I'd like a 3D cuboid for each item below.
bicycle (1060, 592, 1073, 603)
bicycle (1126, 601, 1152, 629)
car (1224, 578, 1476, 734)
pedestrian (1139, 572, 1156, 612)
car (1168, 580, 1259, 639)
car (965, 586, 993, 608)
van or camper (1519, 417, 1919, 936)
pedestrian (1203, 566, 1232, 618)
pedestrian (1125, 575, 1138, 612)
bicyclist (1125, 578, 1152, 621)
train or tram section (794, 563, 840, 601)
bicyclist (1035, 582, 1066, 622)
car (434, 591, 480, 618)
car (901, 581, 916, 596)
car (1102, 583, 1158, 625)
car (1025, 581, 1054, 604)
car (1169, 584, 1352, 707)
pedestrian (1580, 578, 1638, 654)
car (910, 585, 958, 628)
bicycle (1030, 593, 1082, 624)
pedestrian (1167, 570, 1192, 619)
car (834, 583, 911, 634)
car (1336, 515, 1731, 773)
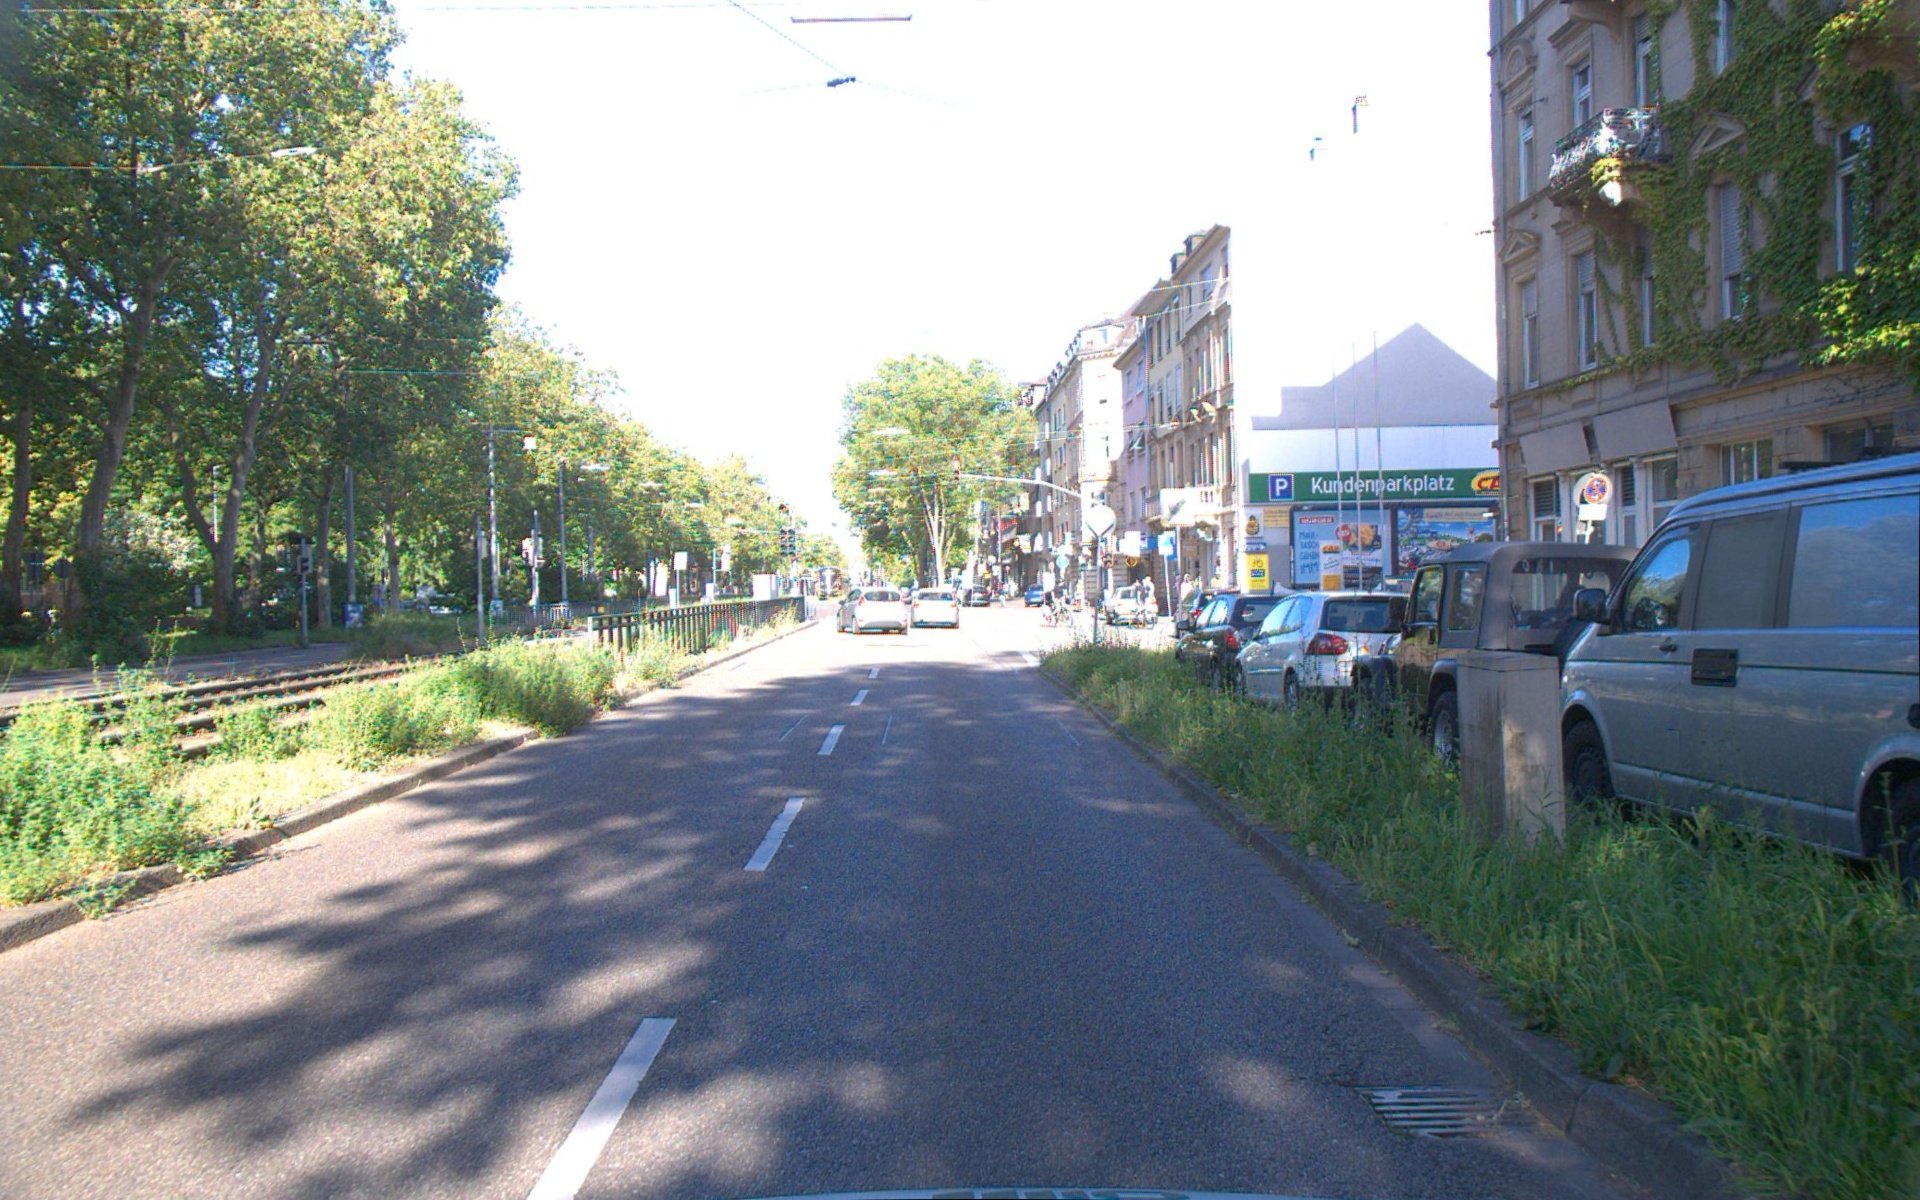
[{"bbox_3d":[7.573,-0.184,117.551,0.739,0.784,1.944,-1,1,-3],"label":"bicycle"},{"bbox_3d":[6.284,0.506,58.118,0.636,0.936,1.917,-1,0,-1],"label":"bicycle"},{"bbox_3d":[4.290,0.558,18.813,1.704,1.544,3.997,1,0,-3],"label":"car"},{"bbox_3d":[8.710,-0.354,76.773,0.659,1.838,0.530,-1,0,-2],"label":"pedestrian"},{"bbox_3d":[7.352,0.251,48.347,1.796,1.513,4.733,-4,1,-1],"label":"car"},{"bbox_3d":[1.277,-0.234,111.222,1.701,1.458,3.676,0,0,-3],"label":"car"},{"bbox_3d":[4.643,0.271,8.175,1.846,2.049,5.092,-1,0,-2],"label":"van or camper"},{"bbox_3d":[9.256,-0.290,59.528,0.748,1.873,0.744,-1,0,-19],"label":"pedestrian"},{"bbox_3d":[7.992,-0.302,76.872,0.538,1.738,0.388,-1,0,1],"label":"pedestrian"},{"bbox_3d":[6.271,-0.021,58.100,0.663,1.471,1.181,-5,0,-1],"label":"bicyclist"},{"bbox_3d":[-15.647,-1.976,182.823,3.889,3.933,17.484,-1,1,-1],"label":"train or tram section"},{"bbox_3d":[3.396,0.072,62.188,0.936,1.487,0.741,0,0,45],"label":"bicyclist"},{"bbox_3d":[-30.492,0.241,100.341,1.636,1.536,4.143,-1,1,-3],"label":"car"},{"bbox_3d":[-7.317,-1.650,234.864,1.953,2.049,3.999,-1,0,-1],"label":"car"},{"bbox_3d":[6.489,0.128,63.437,1.531,1.440,4.003,-4,1,-1],"label":"car"},{"bbox_3d":[5.388,-0.522,112.519,1.700,1.546,3.635,0,0,-2],"label":"car"},{"bbox_3d":[4.111,0.575,23.196,1.608,1.544,3.997,1,0,-3],"label":"car"},{"bbox_3d":[11.227,0.275,28.631,0.701,1.283,0.713,-1,0,-1],"label":"pedestrian"},{"bbox_3d":[-0.967,0.205,60.421,1.705,1.493,3.999,1,0,-2],"label":"car"},{"bbox_3d":[3.592,0.308,61.989,0.753,1.121,1.921,-2,0,-44],"label":"bicycle"},{"bbox_3d":[8.111,-0.205,61.114,0.749,1.786,0.510,-1,0,-22],"label":"pedestrian"},{"bbox_3d":[-2.758,0.253,51.501,1.583,1.493,3.873,-1,1,-16],"label":"car"},{"bbox_3d":[4.546,0.294,13.789,1.826,1.794,3.999,-1,0,-1],"label":"car"}]
